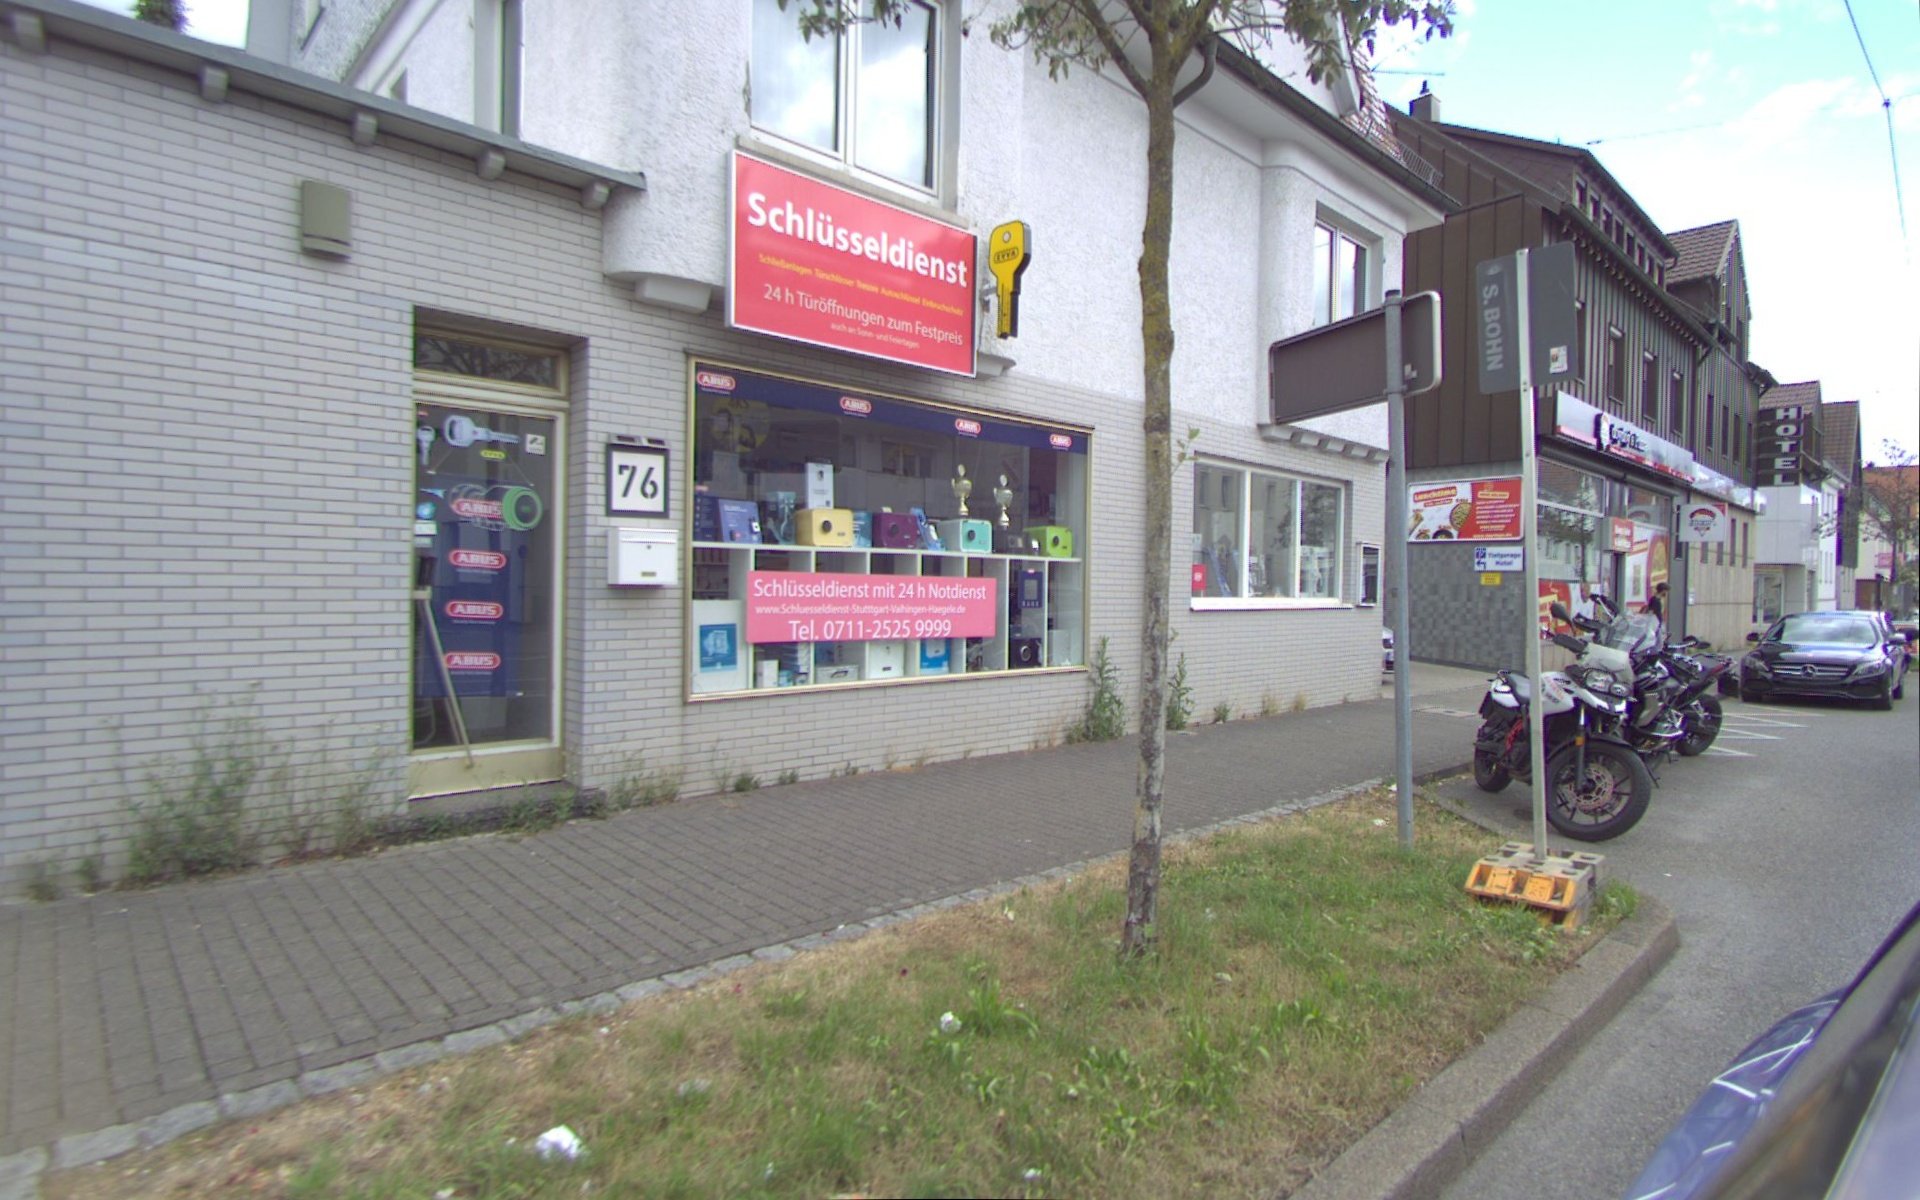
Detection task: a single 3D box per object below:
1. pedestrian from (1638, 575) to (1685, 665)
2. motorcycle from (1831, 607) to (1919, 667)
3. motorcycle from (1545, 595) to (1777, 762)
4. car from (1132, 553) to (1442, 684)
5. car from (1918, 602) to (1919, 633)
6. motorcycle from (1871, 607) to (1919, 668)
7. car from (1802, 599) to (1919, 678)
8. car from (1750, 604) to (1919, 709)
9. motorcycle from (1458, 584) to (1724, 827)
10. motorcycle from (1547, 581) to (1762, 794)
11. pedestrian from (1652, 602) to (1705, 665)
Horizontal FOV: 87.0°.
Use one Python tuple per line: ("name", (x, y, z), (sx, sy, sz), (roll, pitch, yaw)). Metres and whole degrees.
("pedestrian", (14.197, 0.387, 20.483), (0.641, 1.762, 0.731), (3, 2, 42))
("motorcycle", (21.107, 0.837, 23.099), (1.840, 1.308, 0.531), (1, 0, 10))
("motorcycle", (6.708, 0.691, 9.653), (2.418, 1.458, 0.651), (0, 0, -24))
("car", (4.975, 0.176, 15.846), (1.824, 1.607, 4.206), (0, 4, -43))
("car", (43.979, 0.811, 44.965), (3.882, 1.380, 1.793), (0, 3, -43))
("motorcycle", (21.074, 0.825, 22.181), (1.565, 1.308, 0.499), (1, 0, 18))
("car", (18.628, 0.715, 20.806), (3.838, 1.460, 1.642), (0, 1, -44))
("car", (14.396, 0.797, 16.476), (4.490, 1.426, 1.826), (0, 1, -44))
("motorcycle", (4.237, 0.599, 7.045), (0.763, 1.399, 2.237), (1, 1, 10))
("motorcycle", (5.801, 0.631, 8.377), (2.549, 1.544, 0.673), (0, 0, -37))
("pedestrian", (14.899, 0.684, 20.988), (0.633, 1.226, 0.741), (0, 2, -43))
